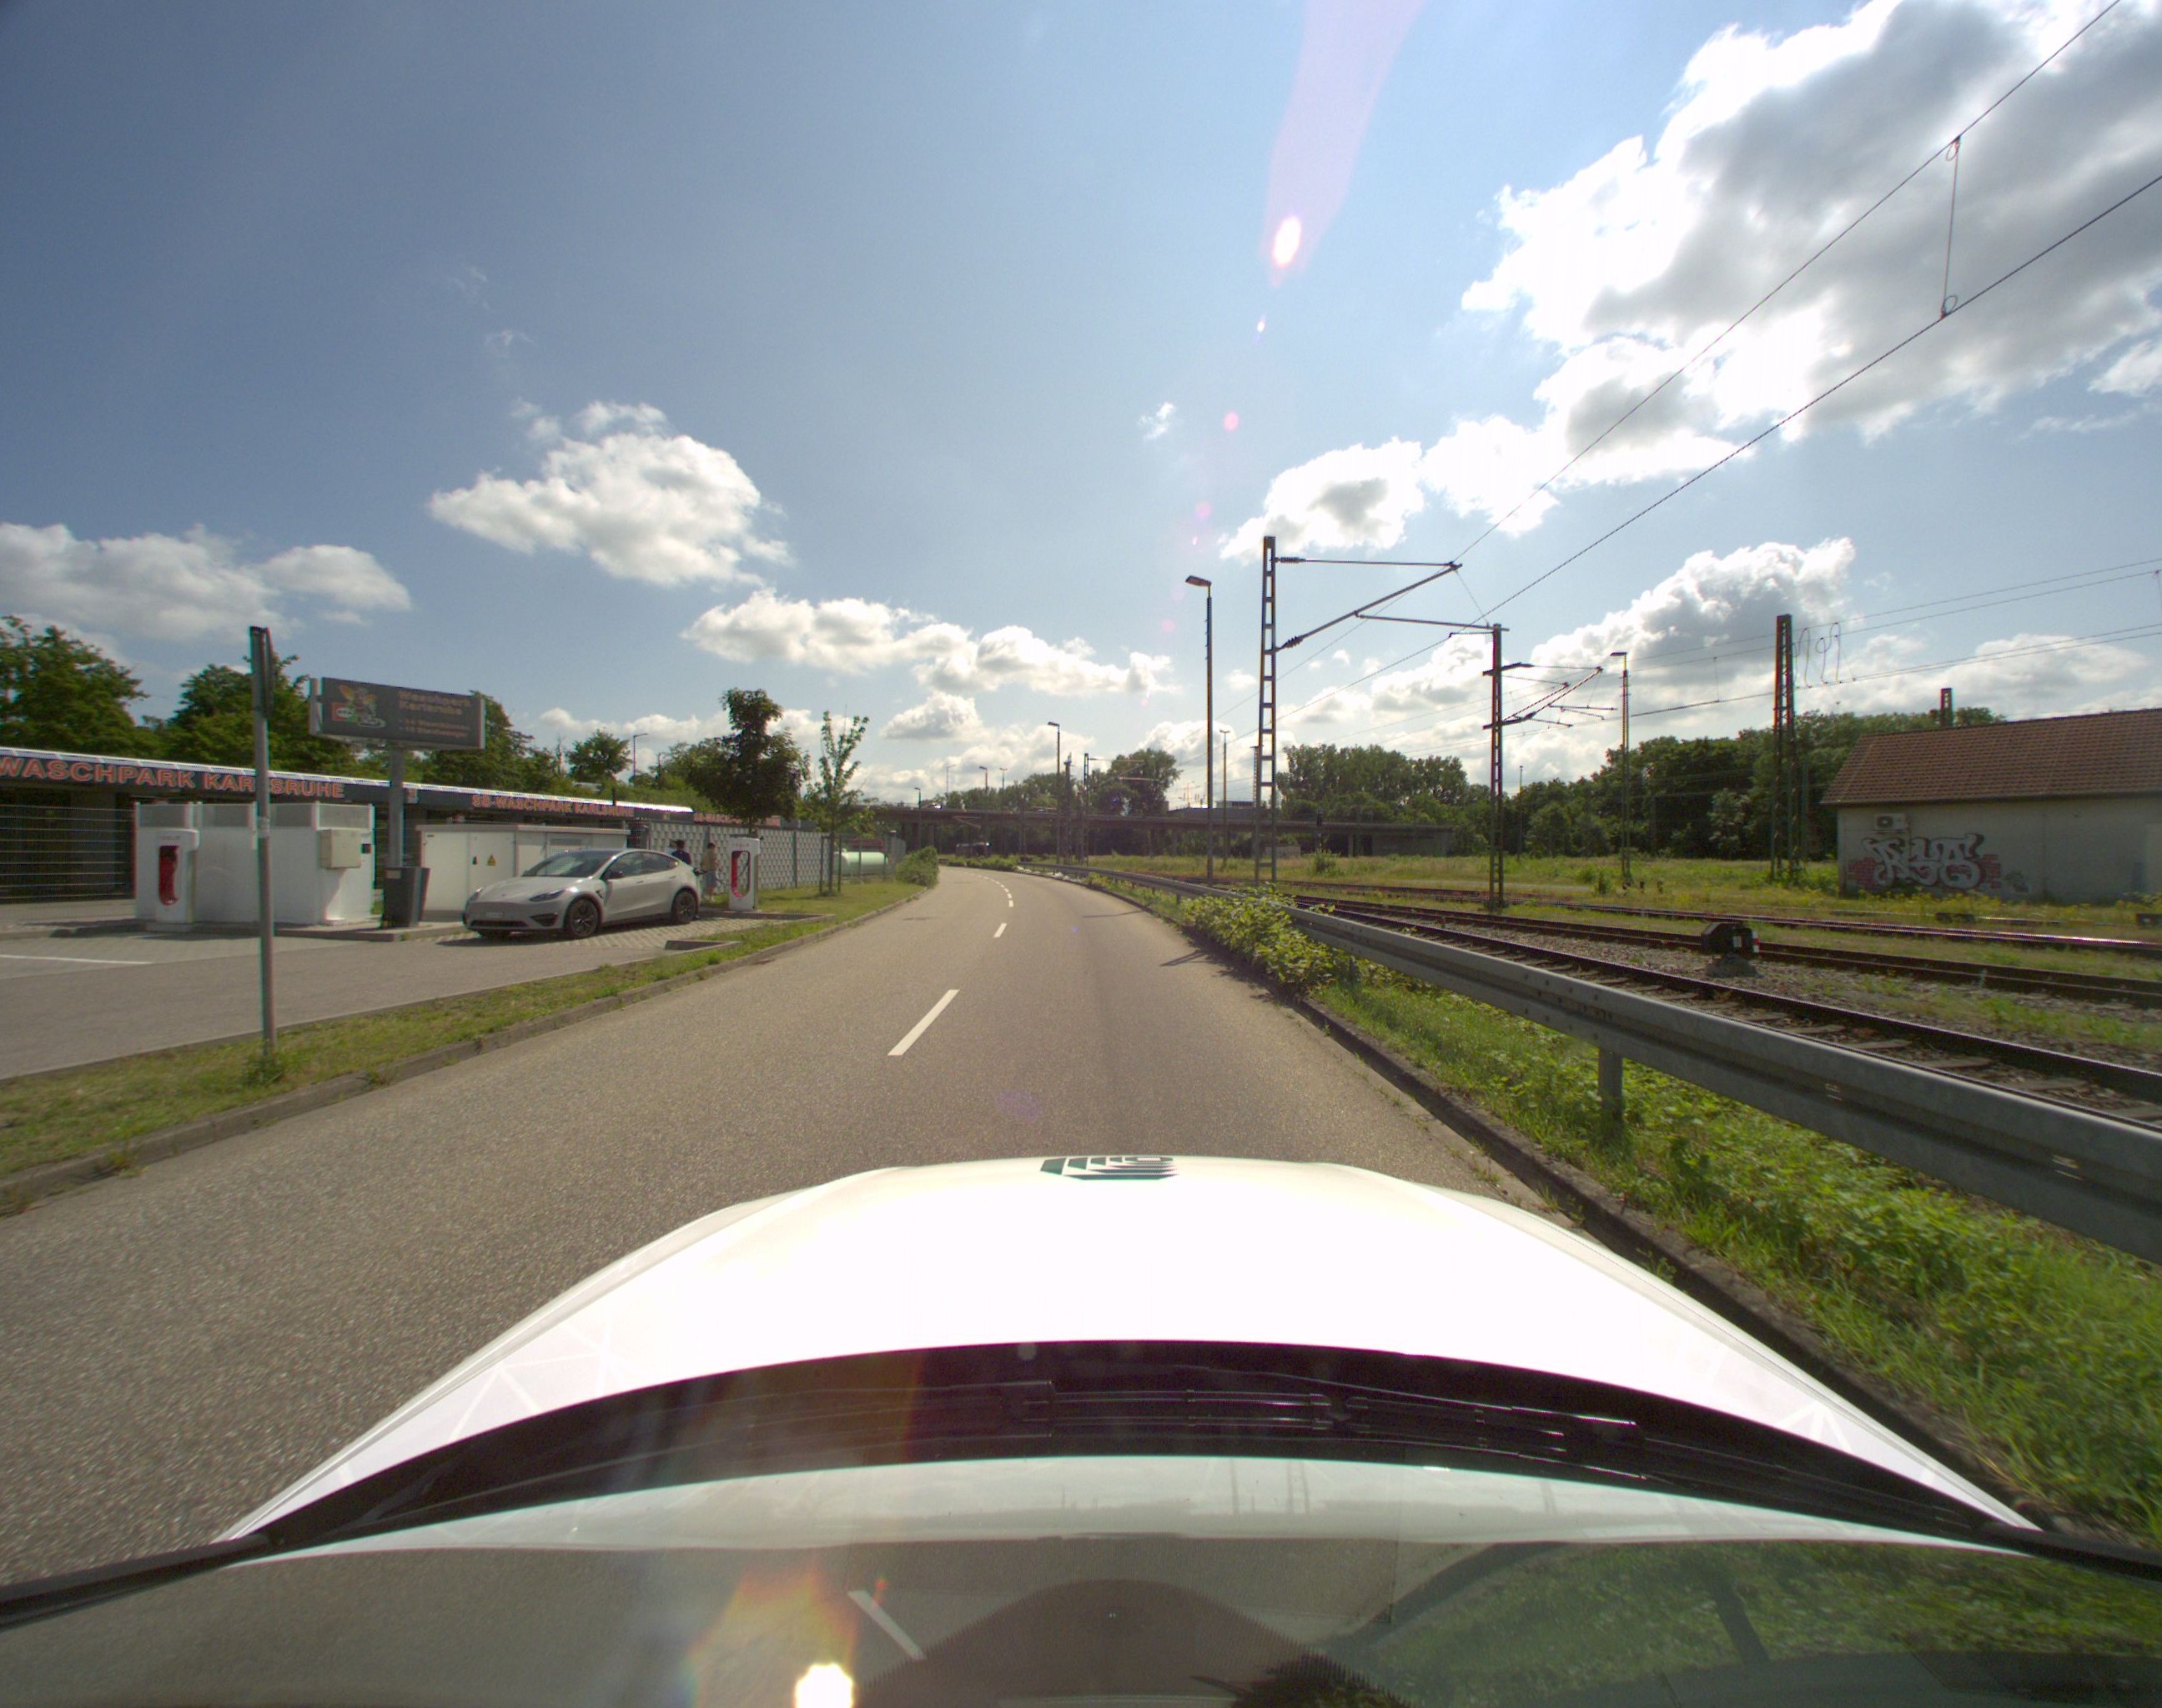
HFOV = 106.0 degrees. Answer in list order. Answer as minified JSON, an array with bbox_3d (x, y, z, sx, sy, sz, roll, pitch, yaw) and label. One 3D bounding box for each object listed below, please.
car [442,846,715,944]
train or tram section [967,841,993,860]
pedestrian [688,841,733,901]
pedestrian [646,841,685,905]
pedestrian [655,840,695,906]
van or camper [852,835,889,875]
[{"bbox_3d":[-9.510,0.659,16.034,1.919,1.517,4.787,1,2,8],"label":"car"},{"bbox_3d":[-19.221,-0.573,154.319,2.902,3.509,8.501,0,0,-22],"label":"train or tram section"},{"bbox_3d":[-9.747,0.441,21.462,0.733,1.542,0.818,0,-1,10],"label":"pedestrian"},{"bbox_3d":[-10.455,0.472,20.504,0.717,1.565,0.750,0,-1,-40],"label":"pedestrian"},{"bbox_3d":[-9.947,0.452,19.952,0.725,1.579,0.705,0,-1,-40],"label":"pedestrian"},{"bbox_3d":[-14.276,0.041,55.408,2.191,2.514,5.677,-2,1,-13],"label":"van or camper"}]
